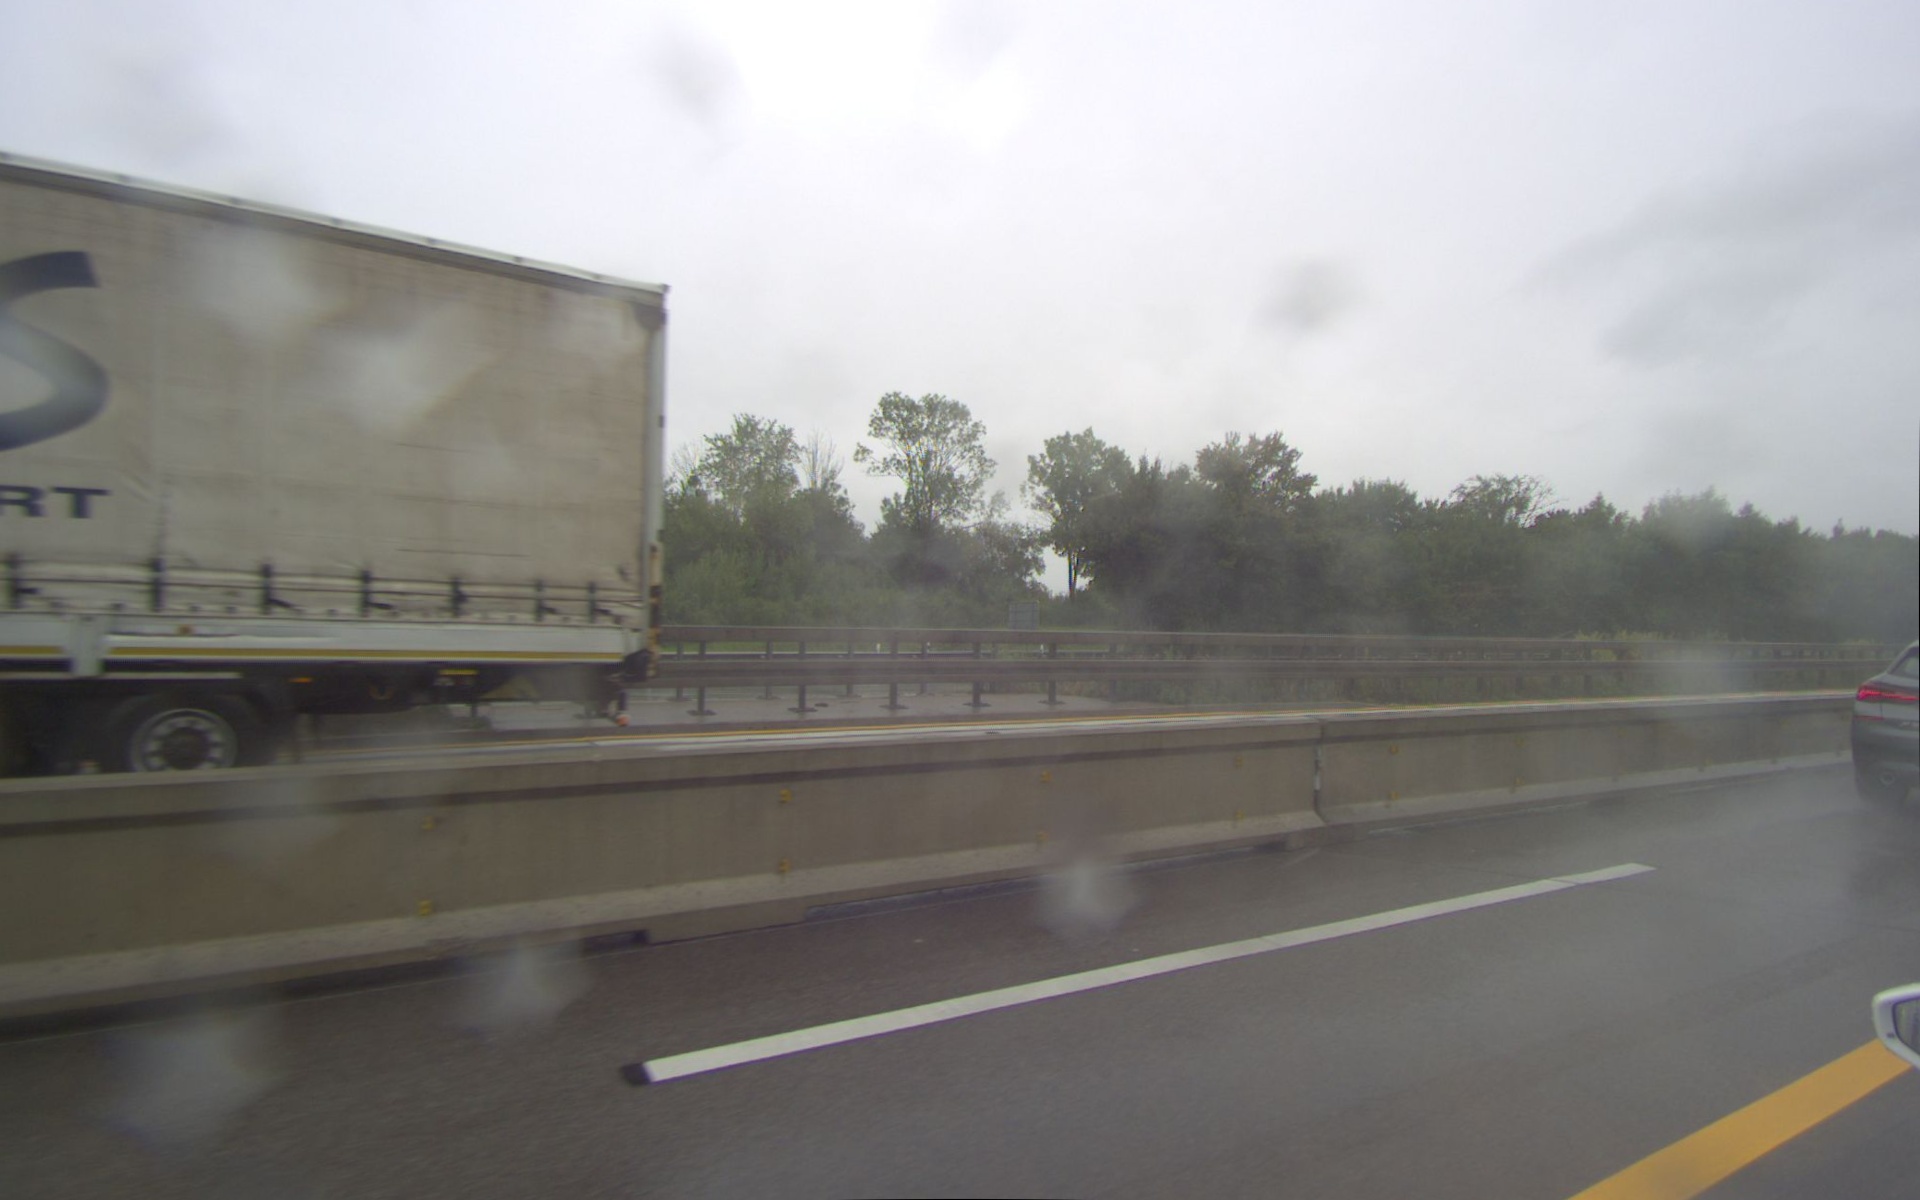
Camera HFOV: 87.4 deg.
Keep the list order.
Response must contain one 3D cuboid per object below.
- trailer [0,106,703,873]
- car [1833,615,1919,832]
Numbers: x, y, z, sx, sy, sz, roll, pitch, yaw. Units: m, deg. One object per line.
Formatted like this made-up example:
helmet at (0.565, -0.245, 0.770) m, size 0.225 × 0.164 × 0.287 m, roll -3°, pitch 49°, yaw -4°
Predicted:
trailer at (-7.495, -0.710, 6.245) m, size 11.066 × 4.501 × 2.472 m, roll 3°, pitch -1°, yaw -31°
car at (9.457, 1.038, 8.532) m, size 4.791 × 1.619 × 1.692 m, roll 3°, pitch -1°, yaw -31°
